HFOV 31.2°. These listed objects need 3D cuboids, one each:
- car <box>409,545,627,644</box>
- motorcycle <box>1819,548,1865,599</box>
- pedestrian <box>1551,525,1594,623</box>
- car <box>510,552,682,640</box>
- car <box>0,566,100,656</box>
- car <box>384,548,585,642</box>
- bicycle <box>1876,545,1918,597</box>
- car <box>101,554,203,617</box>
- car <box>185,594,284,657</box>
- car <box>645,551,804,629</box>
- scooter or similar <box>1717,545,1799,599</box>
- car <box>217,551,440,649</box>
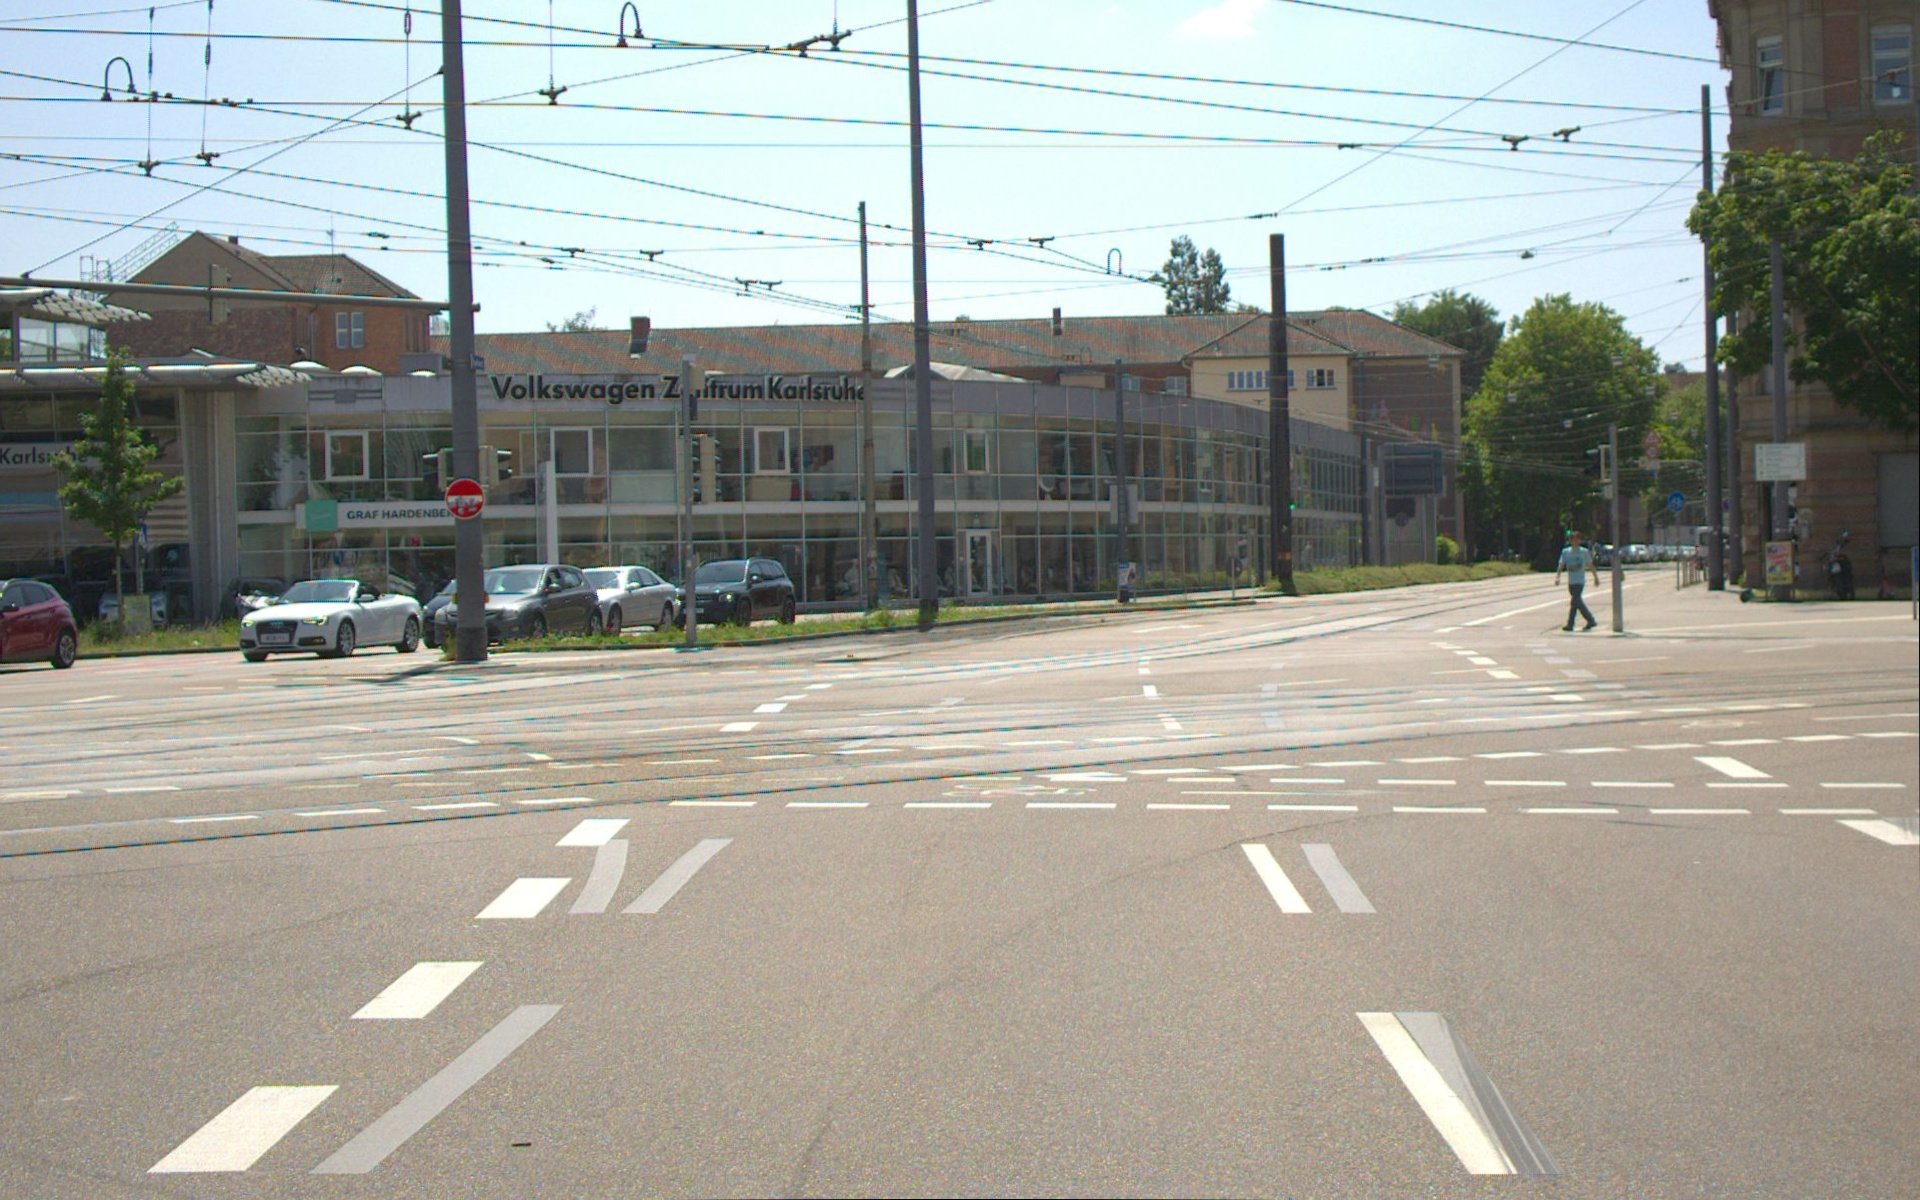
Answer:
[{"bbox_3d":[-7.685,-0.124,60.224,1.995,1.632,4.842,-1,1,16],"label":"car"},{"bbox_3d":[19.179,-0.585,74.782,0.580,1.071,1.946,-1,1,3],"label":"motorcycle"},{"bbox_3d":[10.724,-0.455,60.175,0.460,1.702,0.640,-1,1,-18],"label":"pedestrian"},{"bbox_3d":[-7.576,-0.111,71.997,1.995,1.733,4.540,-1,1,16],"label":"car"},{"bbox_3d":[-16.647,0.190,58.348,1.994,1.460,4.843,-1,1,13],"label":"car"},{"bbox_3d":[-9.084,-0.125,66.041,1.995,1.695,4.842,-1,1,16],"label":"car"},{"bbox_3d":[20.380,-0.633,74.809,0.551,1.116,1.820,-1,1,6],"label":"bicycle"},{"bbox_3d":[-22.494,-0.396,95.840,1.920,1.701,4.000,1,0,0],"label":"car"},{"bbox_3d":[-20.236,0.704,96.076,1.920,1.701,4.000,1,0,0],"label":"car"},{"bbox_3d":[-5.356,-0.246,78.873,2.080,1.677,4.842,-1,1,16],"label":"car"},{"bbox_3d":[18.067,-0.639,77.847,1.786,1.177,0.599,-1,1,-23],"label":"scooter or similar"},{"bbox_3d":[-10.931,-0.031,59.886,2.078,1.575,4.843,-1,1,13],"label":"car"}]
